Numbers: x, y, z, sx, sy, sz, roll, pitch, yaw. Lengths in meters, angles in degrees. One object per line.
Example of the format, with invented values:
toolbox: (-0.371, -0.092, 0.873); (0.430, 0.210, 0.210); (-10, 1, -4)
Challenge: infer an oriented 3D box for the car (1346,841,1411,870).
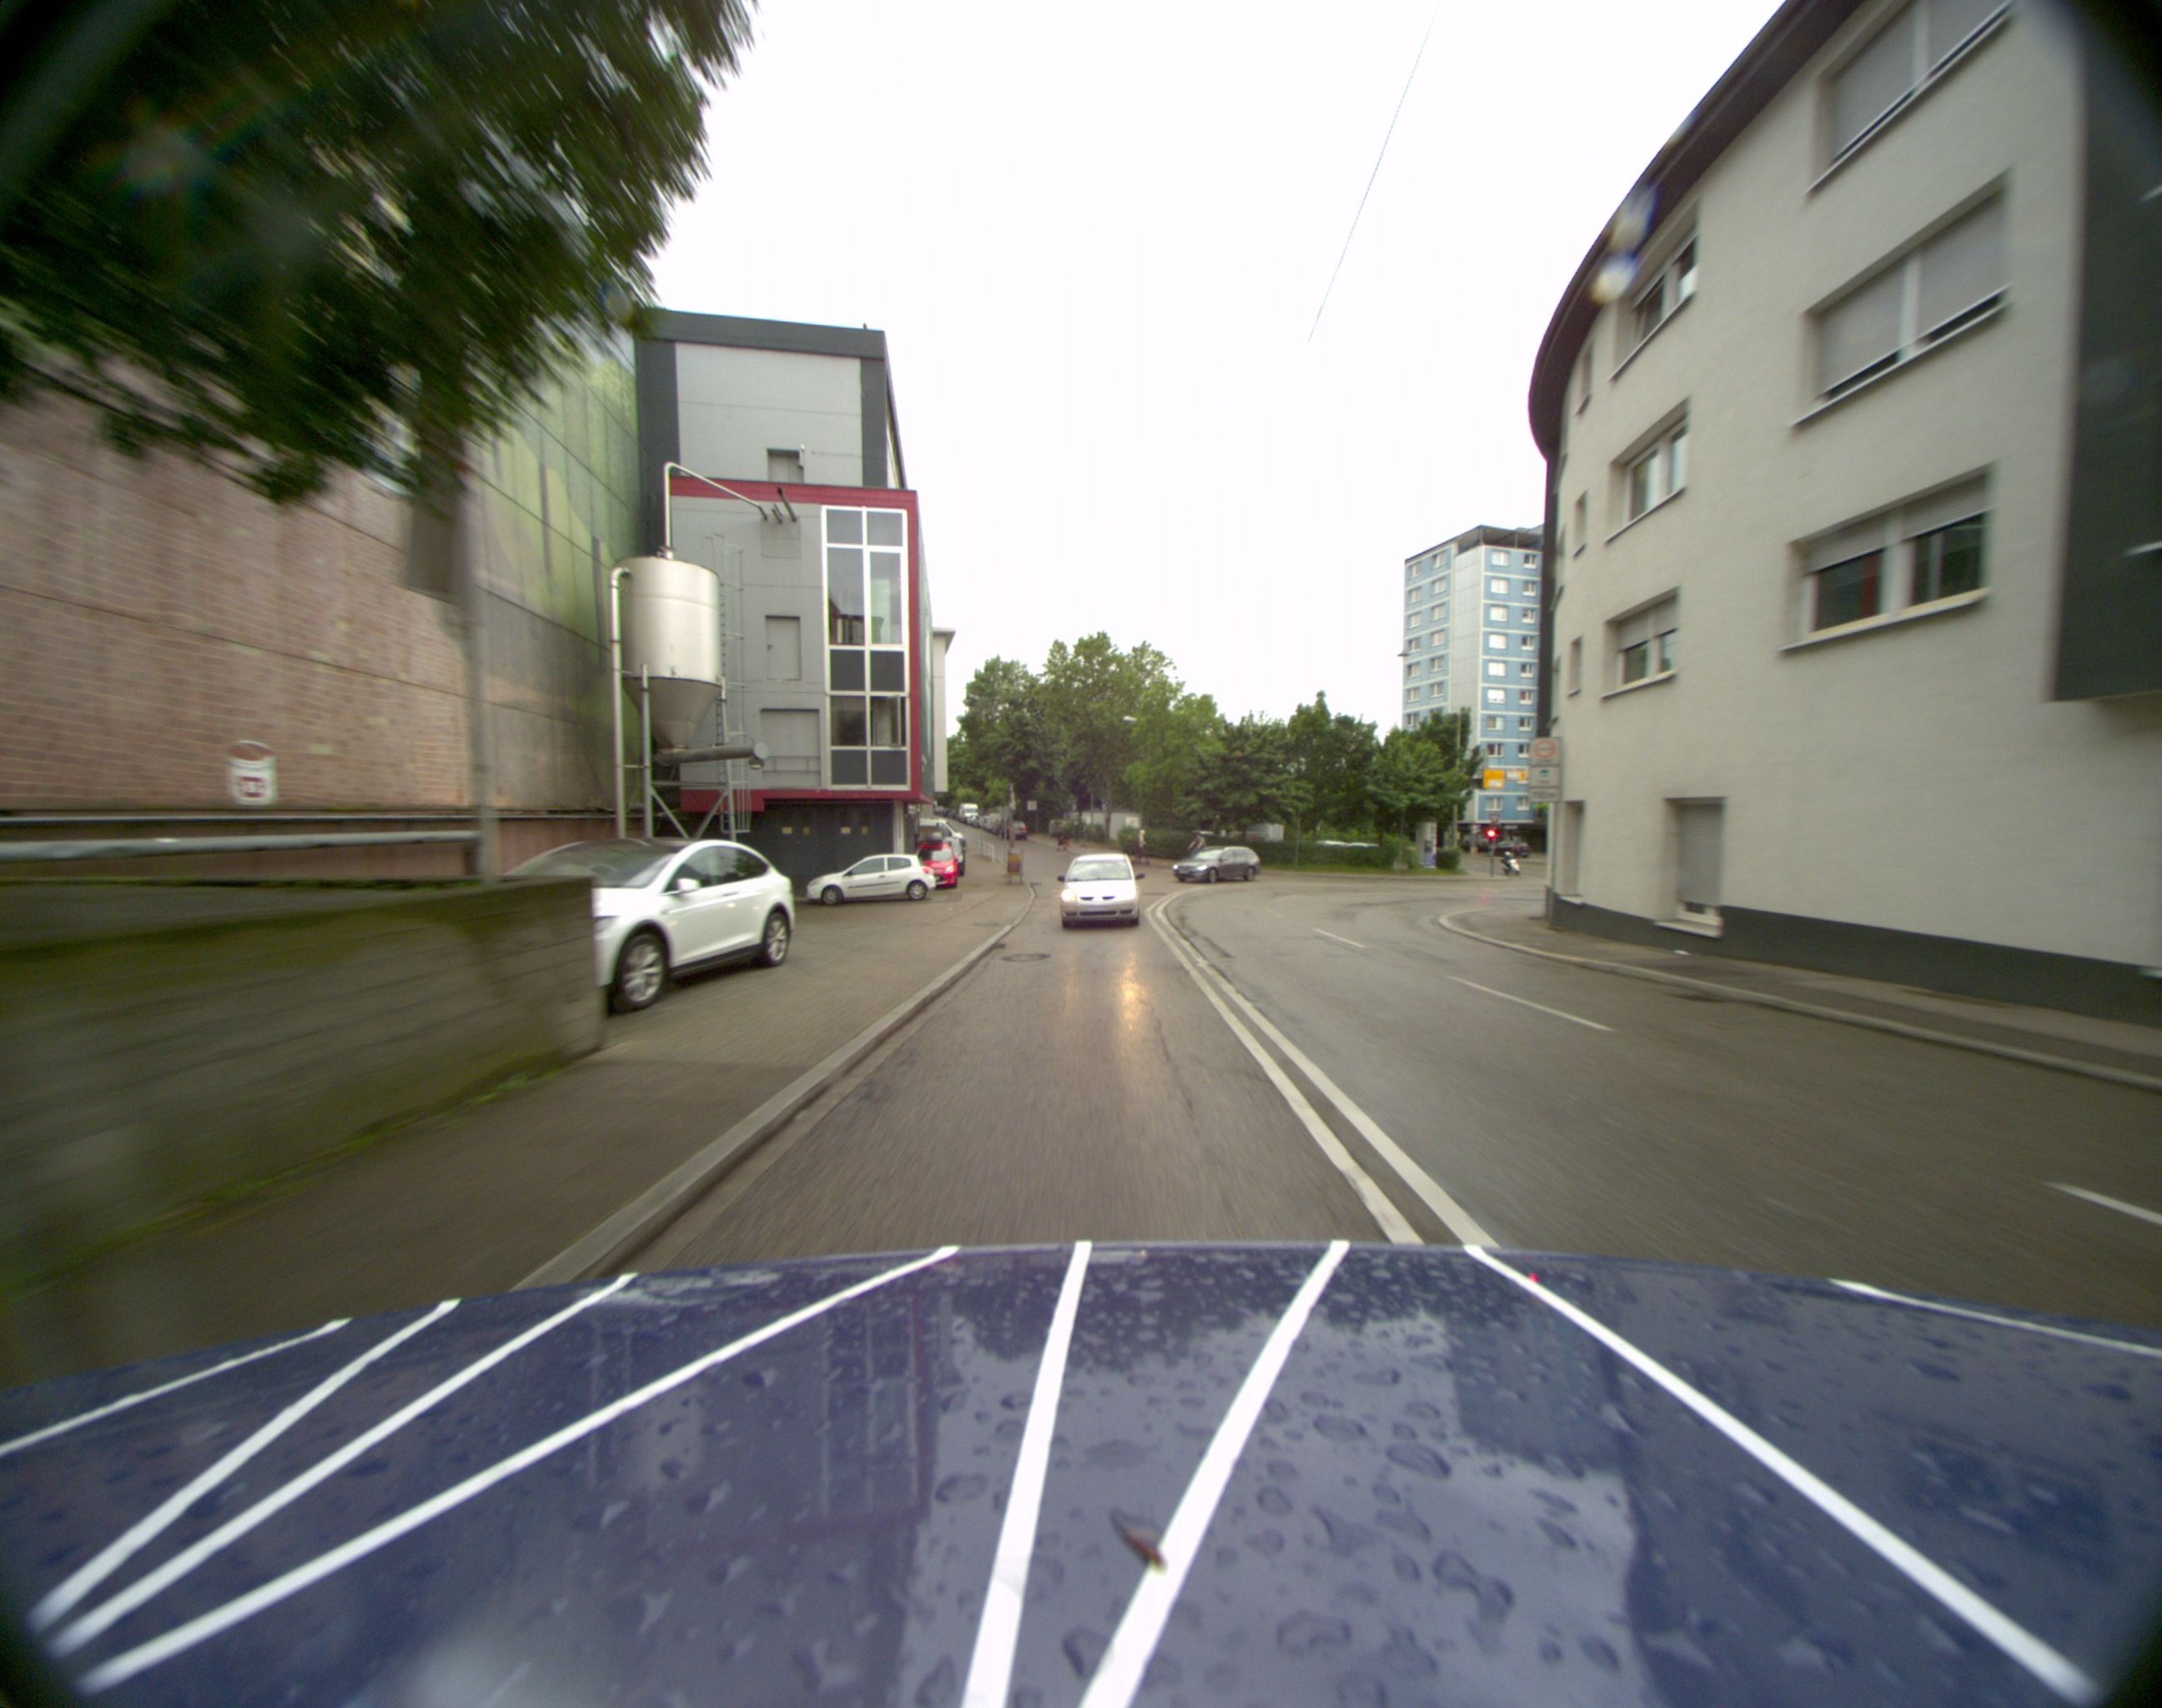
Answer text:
car: (20.097, 0.043, 51.517); (1.639, 1.612, 4.202); (4, 2, -21)

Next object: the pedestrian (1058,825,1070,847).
pedestrian: (-1.228, -1.267, 53.747); (0.704, 1.559, 0.621); (0, 5, -10)

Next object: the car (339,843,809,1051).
car: (-4.905, 0.759, 8.482); (1.857, 1.608, 4.916); (1, 0, 1)

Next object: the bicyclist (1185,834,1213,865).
bicyclist: (6.015, -0.223, 38.794); (0.970, 1.481, 0.886); (2, 4, -28)

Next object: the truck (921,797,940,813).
truck: (-25.947, -8.413, 131.184); (2.054, 2.615, 3.988); (-1, 5, -29)

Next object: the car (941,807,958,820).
car: (-20.522, -6.381, 118.851); (1.911, 1.931, 3.990); (0, 4, -20)

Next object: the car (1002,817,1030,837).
car: (-5.857, -2.474, 68.250); (1.910, 1.642, 3.992); (1, 4, -13)

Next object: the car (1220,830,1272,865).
car: (10.559, -0.475, 48.941); (1.638, 1.949, 4.206); (4, 2, -10)

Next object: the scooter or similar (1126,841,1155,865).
scooter or similar: (3.319, -0.057, 42.328); (1.408, 1.315, 0.804); (1, 3, -8)

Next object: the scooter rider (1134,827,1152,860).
scooter rider: (3.433, -0.577, 42.311); (0.782, 1.811, 0.804); (1, 3, -8)

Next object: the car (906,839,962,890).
car: (-5.749, 0.356, 30.199); (1.932, 1.702, 4.486); (1, 3, -8)

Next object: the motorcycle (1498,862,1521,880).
motorcycle: (30.745, 1.193, 54.519); (0.618, 1.102, 1.799); (-4, 4, 0)

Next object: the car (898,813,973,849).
car: (-10.107, -1.624, 53.051); (4.891, 2.200, 1.881); (2, 5, -5)

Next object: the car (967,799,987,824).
car: (-14.032, -5.775, 102.007); (2.224, 3.265, 5.070); (1, 4, -13)

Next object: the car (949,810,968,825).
car: (-17.785, -5.331, 110.253); (1.911, 2.024, 3.990); (0, 4, -20)

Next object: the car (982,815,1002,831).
car: (-10.386, -3.622, 88.243); (1.910, 1.642, 3.992); (1, 4, -13)

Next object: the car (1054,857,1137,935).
car: (0.341, 0.867, 17.461); (1.686, 1.496, 3.838); (0, 1, 1)

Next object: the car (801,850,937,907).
car: (-6.720, 0.767, 24.447); (3.994, 1.524, 1.872); (3, 2, -12)

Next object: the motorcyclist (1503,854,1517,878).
motorcyclist: (30.722, 0.878, 54.390); (0.618, 1.653, 0.649); (-4, 4, 0)

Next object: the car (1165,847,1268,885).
car: (5.868, 0.486, 32.696); (4.510, 1.496, 1.683); (0, 3, -36)

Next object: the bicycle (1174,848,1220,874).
bicycle: (5.932, 0.365, 38.804); (2.137, 1.181, 0.886); (2, 4, -28)

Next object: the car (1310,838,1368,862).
car: (20.407, -0.310, 60.063); (4.004, 1.502, 1.796); (4, 2, -19)

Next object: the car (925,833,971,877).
car: (-6.239, -0.017, 35.944); (1.933, 1.702, 3.994); (2, 4, -8)

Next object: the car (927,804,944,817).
car: (-23.785, -7.164, 124.085); (1.912, 1.931, 3.989); (0, 4, -25)

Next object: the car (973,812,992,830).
car: (-12.213, -4.103, 94.087); (1.910, 2.024, 3.992); (1, 4, -13)

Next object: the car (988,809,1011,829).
car: (-8.778, -3.783, 81.599); (1.910, 2.064, 3.992); (1, 4, -13)

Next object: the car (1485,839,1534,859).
car: (42.081, -0.524, 74.752); (1.652, 1.657, 4.176); (-1, 5, -17)
